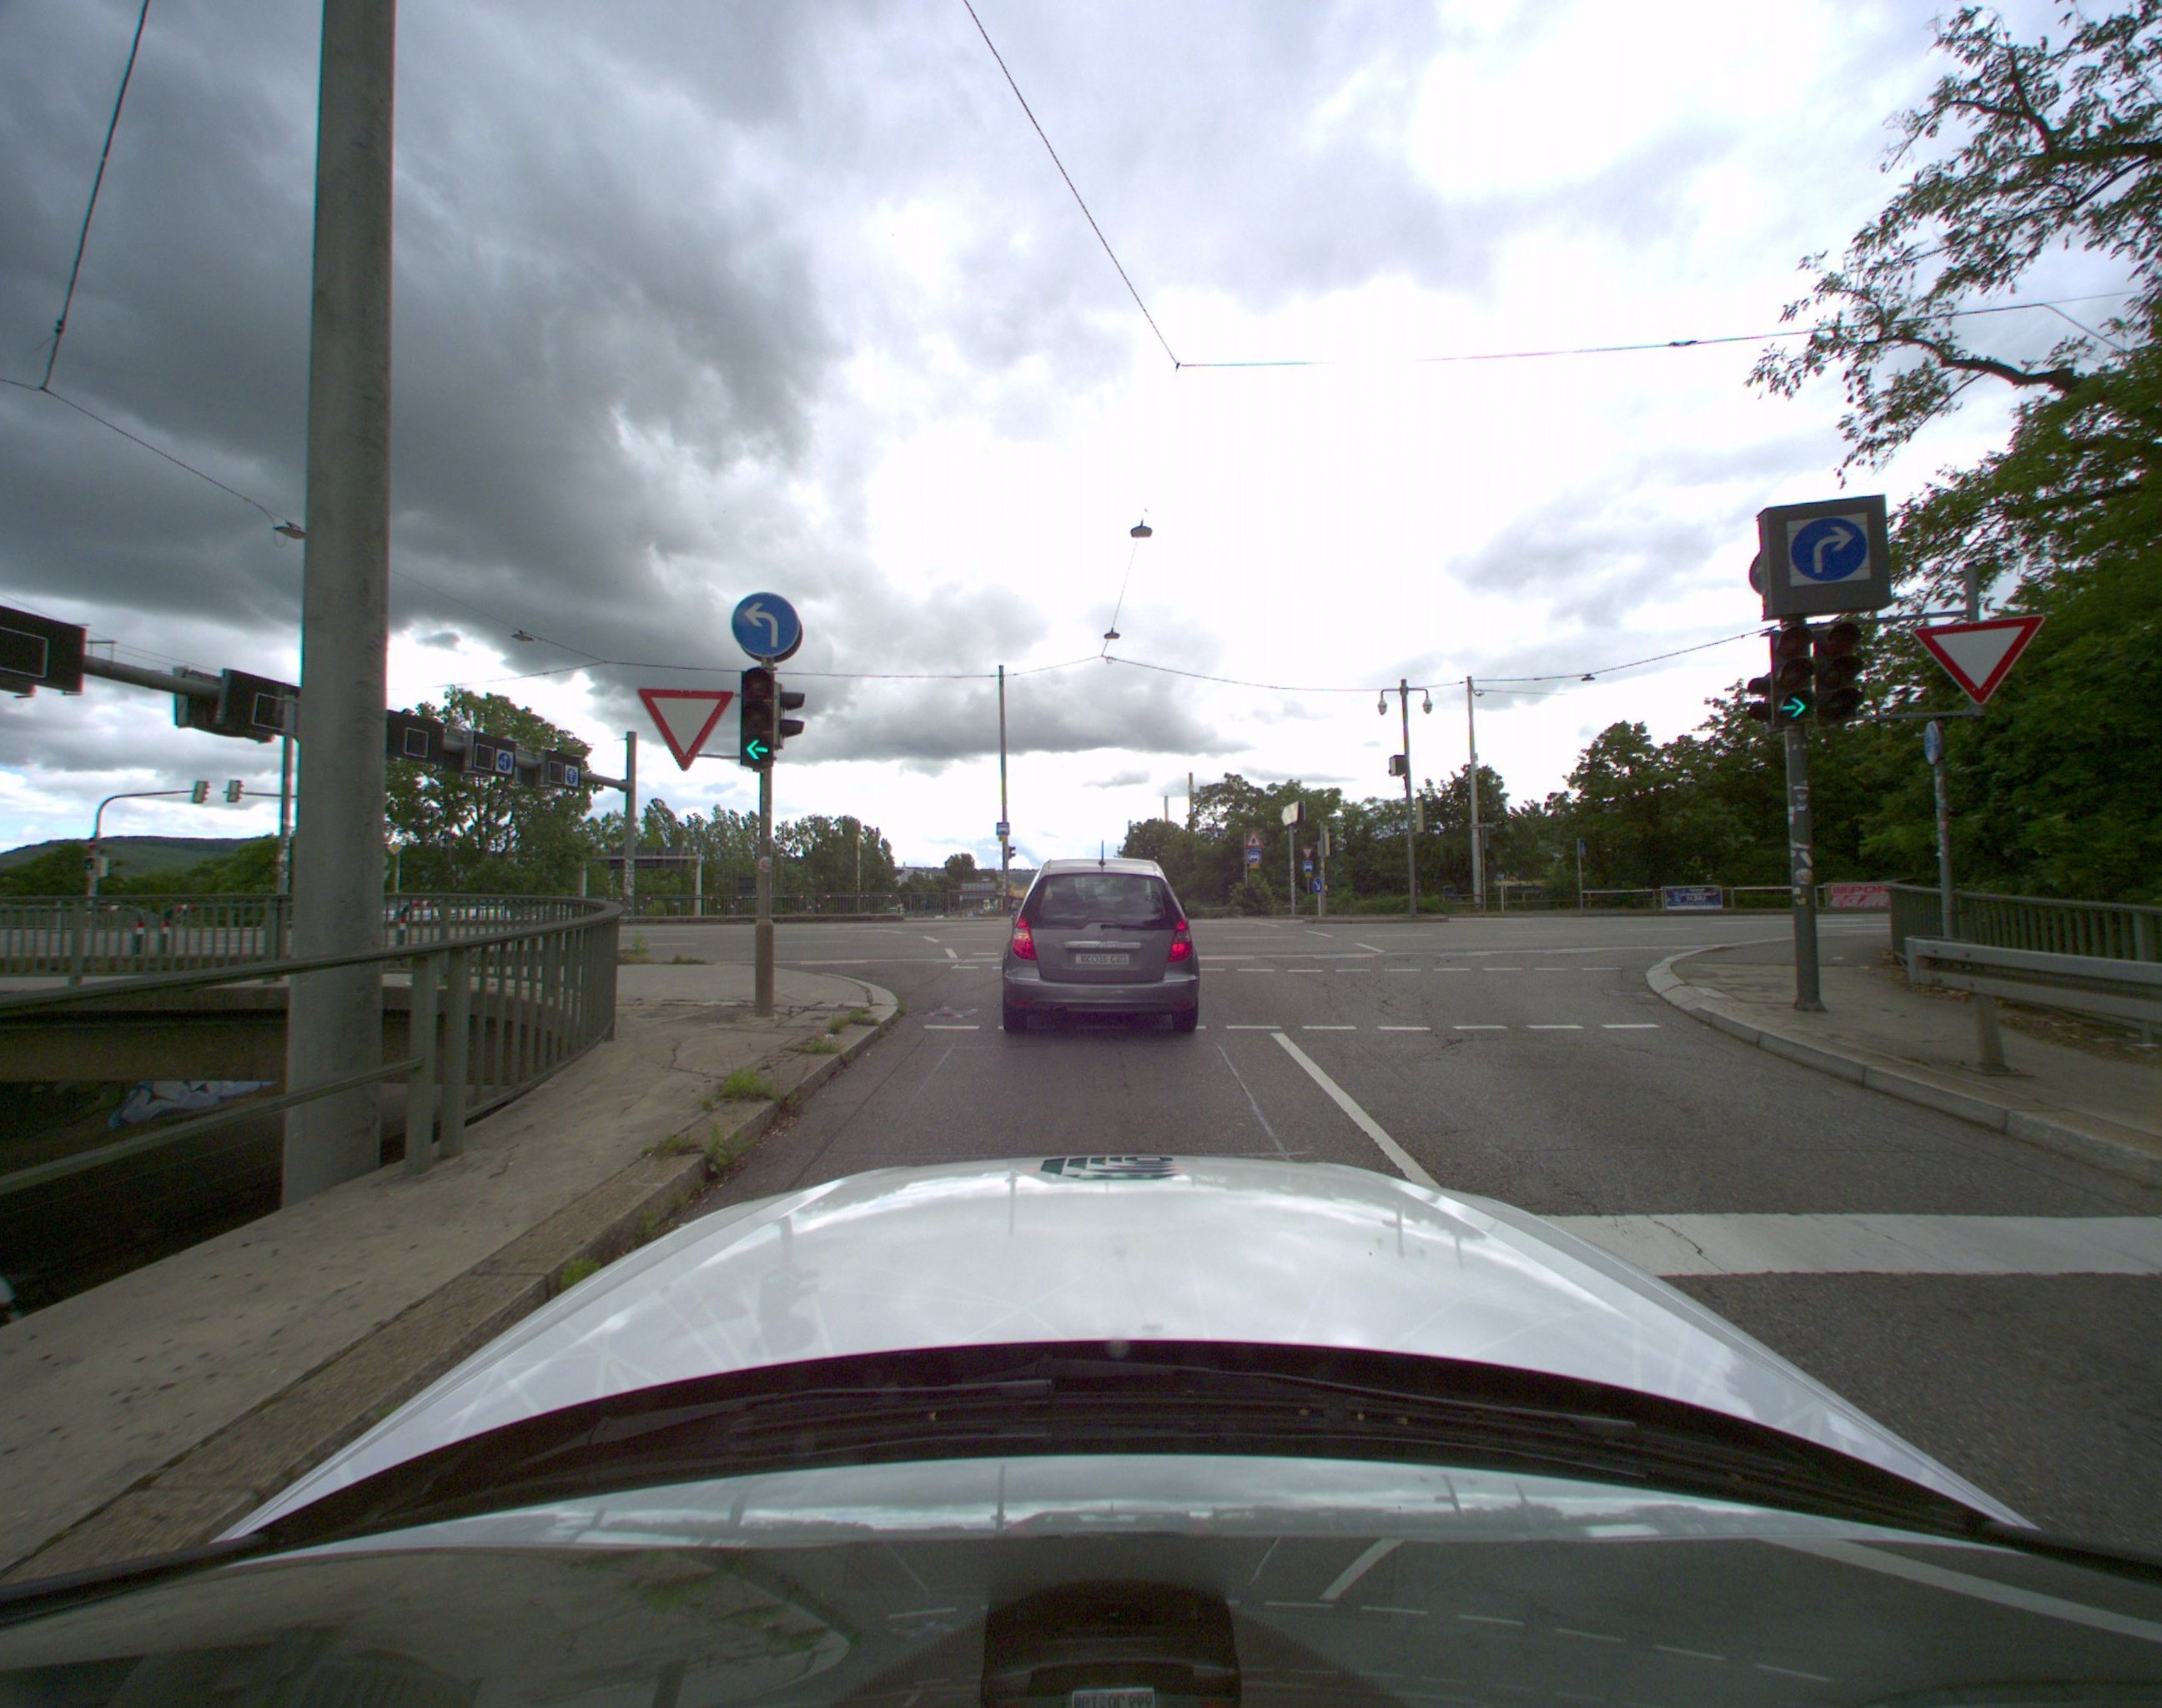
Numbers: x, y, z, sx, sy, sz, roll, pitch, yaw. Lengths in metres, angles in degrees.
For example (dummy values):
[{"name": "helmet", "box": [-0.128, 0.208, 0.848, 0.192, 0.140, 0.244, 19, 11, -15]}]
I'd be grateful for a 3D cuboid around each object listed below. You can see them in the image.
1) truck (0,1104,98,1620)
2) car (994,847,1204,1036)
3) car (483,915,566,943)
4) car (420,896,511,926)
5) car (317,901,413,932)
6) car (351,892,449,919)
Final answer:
[{"name": "truck", "box": [-12.546, 5.280, 6.302, 2.960, 4.991, 5.580, 0, -1, 2]}, {"name": "car", "box": [0.192, 0.763, 8.732, 1.739, 1.550, 3.871, -1, -1, 1]}, {"name": "car", "box": [-36.423, 4.904, 53.481, 1.987, 1.620, 4.960, -2, -5, 0]}, {"name": "car", "box": [-36.349, 3.413, 48.262, 1.987, 1.620, 4.340, -2, -5, 0]}, {"name": "car", "box": [-38.859, 3.402, 44.330, 1.685, 1.540, 4.005, -2, -5, -1]}, {"name": "car", "box": [-35.862, 2.757, 43.018, 1.776, 1.313, 3.770, -3, -5, 6]}]
